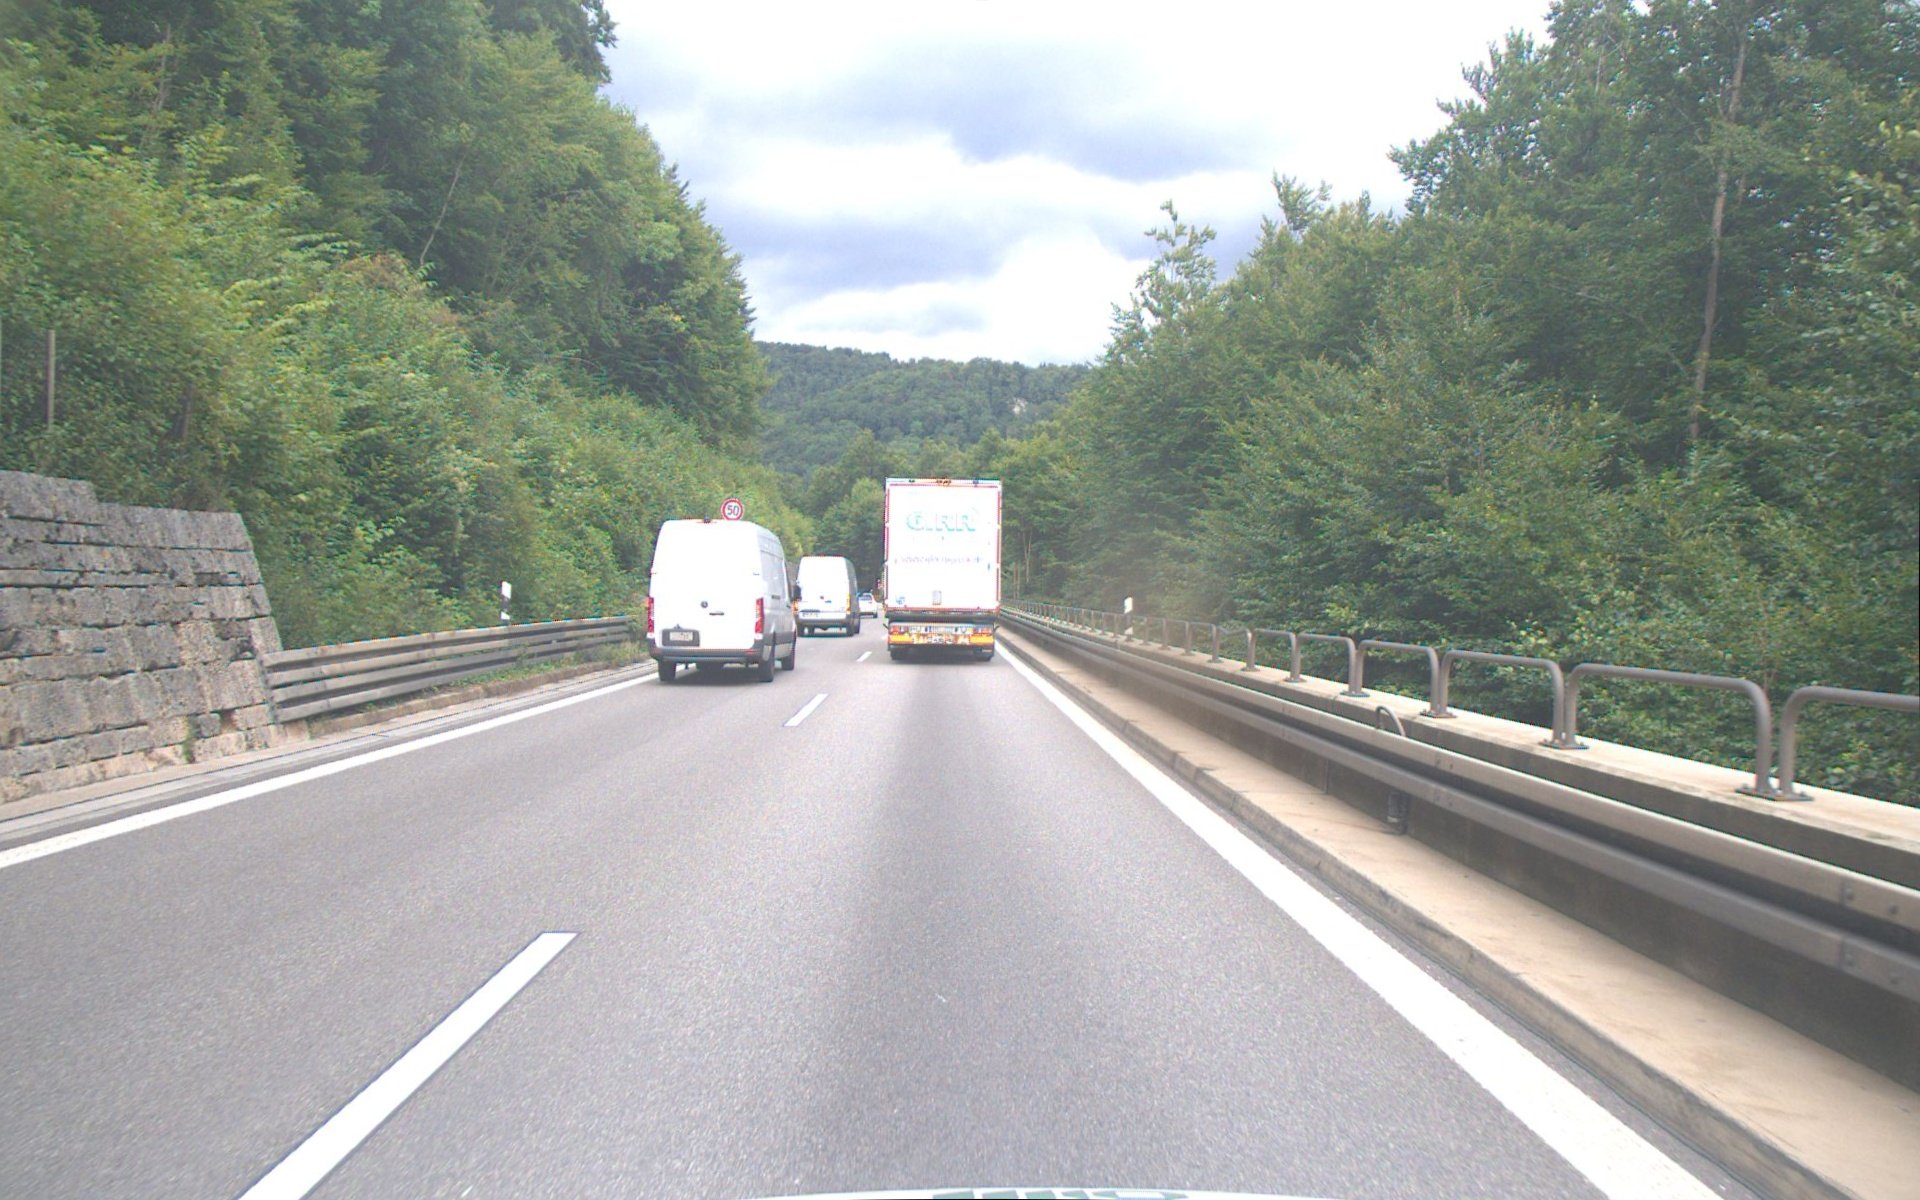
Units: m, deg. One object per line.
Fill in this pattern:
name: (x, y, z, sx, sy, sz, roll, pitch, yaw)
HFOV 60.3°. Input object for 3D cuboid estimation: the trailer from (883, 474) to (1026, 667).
trailer: (-0.217, -0.810, 41.510, 2.995, 4.055, 12.135, 1, 2, -1)

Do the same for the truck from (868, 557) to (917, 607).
truck: (-5.977, -1.451, 143.425, 3.000, 4.056, 13.675, 1, 0, -7)

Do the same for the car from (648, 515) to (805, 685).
car: (-4.071, -0.034, 30.037, 1.948, 2.719, 6.935, 1, 0, -1)

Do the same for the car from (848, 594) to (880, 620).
car: (-5.743, 0.413, 99.401, 1.697, 1.446, 3.999, 1, 0, -1)

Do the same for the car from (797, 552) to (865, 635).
car: (-4.465, -0.243, 58.139, 1.900, 2.719, 5.991, 1, 0, 0)
